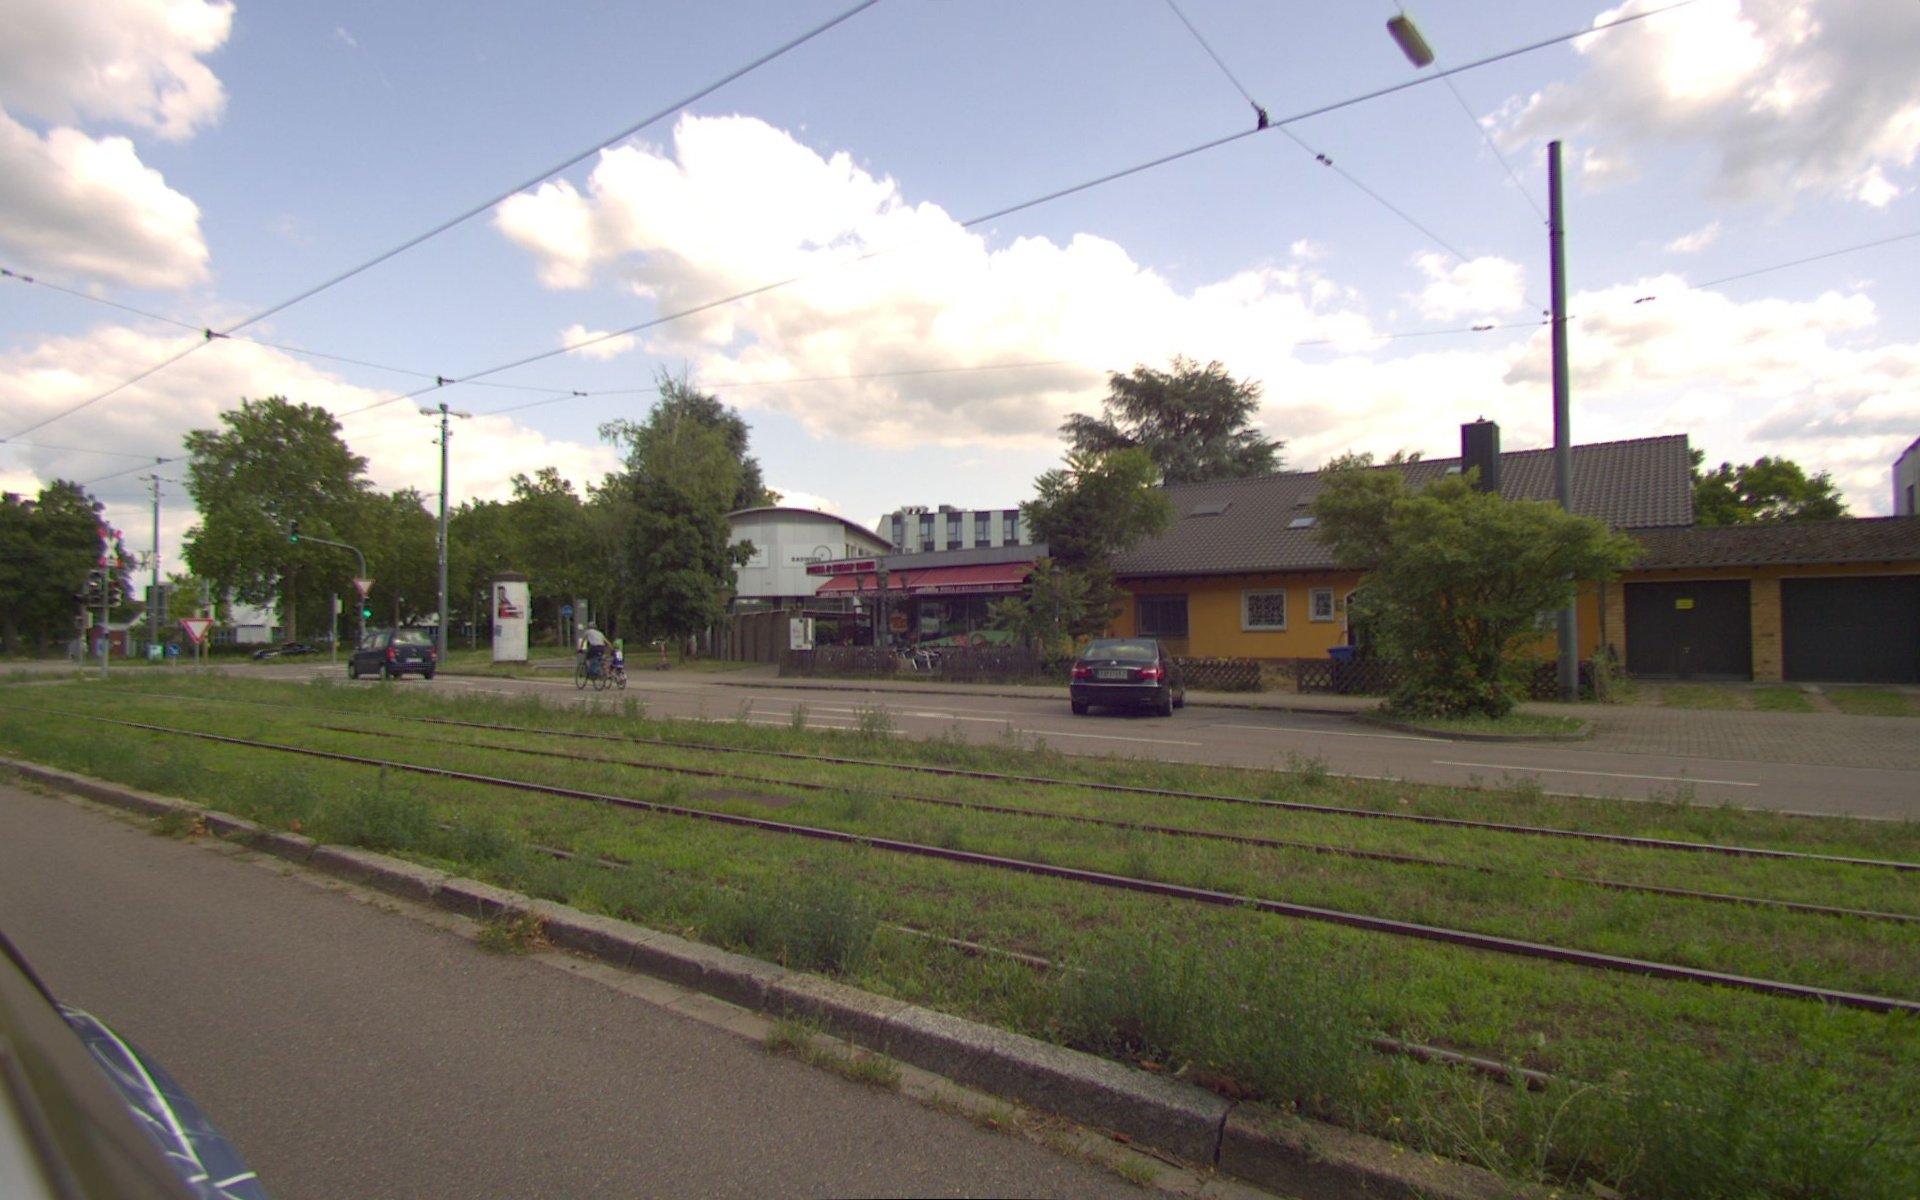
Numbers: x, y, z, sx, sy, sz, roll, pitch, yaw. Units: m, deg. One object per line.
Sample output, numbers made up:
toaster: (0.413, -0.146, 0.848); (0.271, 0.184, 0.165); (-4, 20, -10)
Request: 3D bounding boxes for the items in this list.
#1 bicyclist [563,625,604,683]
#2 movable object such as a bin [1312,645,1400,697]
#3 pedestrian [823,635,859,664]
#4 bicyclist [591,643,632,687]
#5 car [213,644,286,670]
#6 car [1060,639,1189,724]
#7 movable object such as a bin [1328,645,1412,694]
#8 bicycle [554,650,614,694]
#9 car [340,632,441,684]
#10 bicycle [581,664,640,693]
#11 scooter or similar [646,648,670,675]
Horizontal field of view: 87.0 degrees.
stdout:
bicyclist: (-9.738, 1.386, 26.190); (0.928, 1.469, 0.616); (-2, -3, 41)
movable object such as a bin: (9.047, 1.602, 23.125); (1.615, 1.109, 1.243); (-2, -3, 36)
pedestrian: (-4.920, 2.028, 41.768); (0.931, 1.155, 1.142); (-2, -3, 38)
bicyclist: (-9.216, 1.712, 26.733); (0.928, 1.121, 0.633); (-2, -3, 40)
car: (-44.476, 3.539, 63.431); (1.678, 1.535, 3.850); (0, -2, 5)
car: (3.337, 1.484, 19.776); (1.867, 1.418, 4.624); (0, -2, 17)
movable object such as a bin: (9.854, 1.645, 24.334); (1.615, 1.101, 1.243); (-2, -3, 36)
bicycle: (-9.737, 1.835, 26.184); (1.803, 1.088, 0.639); (-2, -3, 40)
car: (-18.936, 1.869, 33.615); (3.492, 1.639, 1.761); (-2, -2, 39)
bicycle: (-9.248, 2.063, 26.741); (1.803, 0.723, 0.639); (-2, -3, 40)
scooter or similar: (-12.025, 2.439, 40.258); (0.421, 1.041, 1.224); (1, -3, -42)
